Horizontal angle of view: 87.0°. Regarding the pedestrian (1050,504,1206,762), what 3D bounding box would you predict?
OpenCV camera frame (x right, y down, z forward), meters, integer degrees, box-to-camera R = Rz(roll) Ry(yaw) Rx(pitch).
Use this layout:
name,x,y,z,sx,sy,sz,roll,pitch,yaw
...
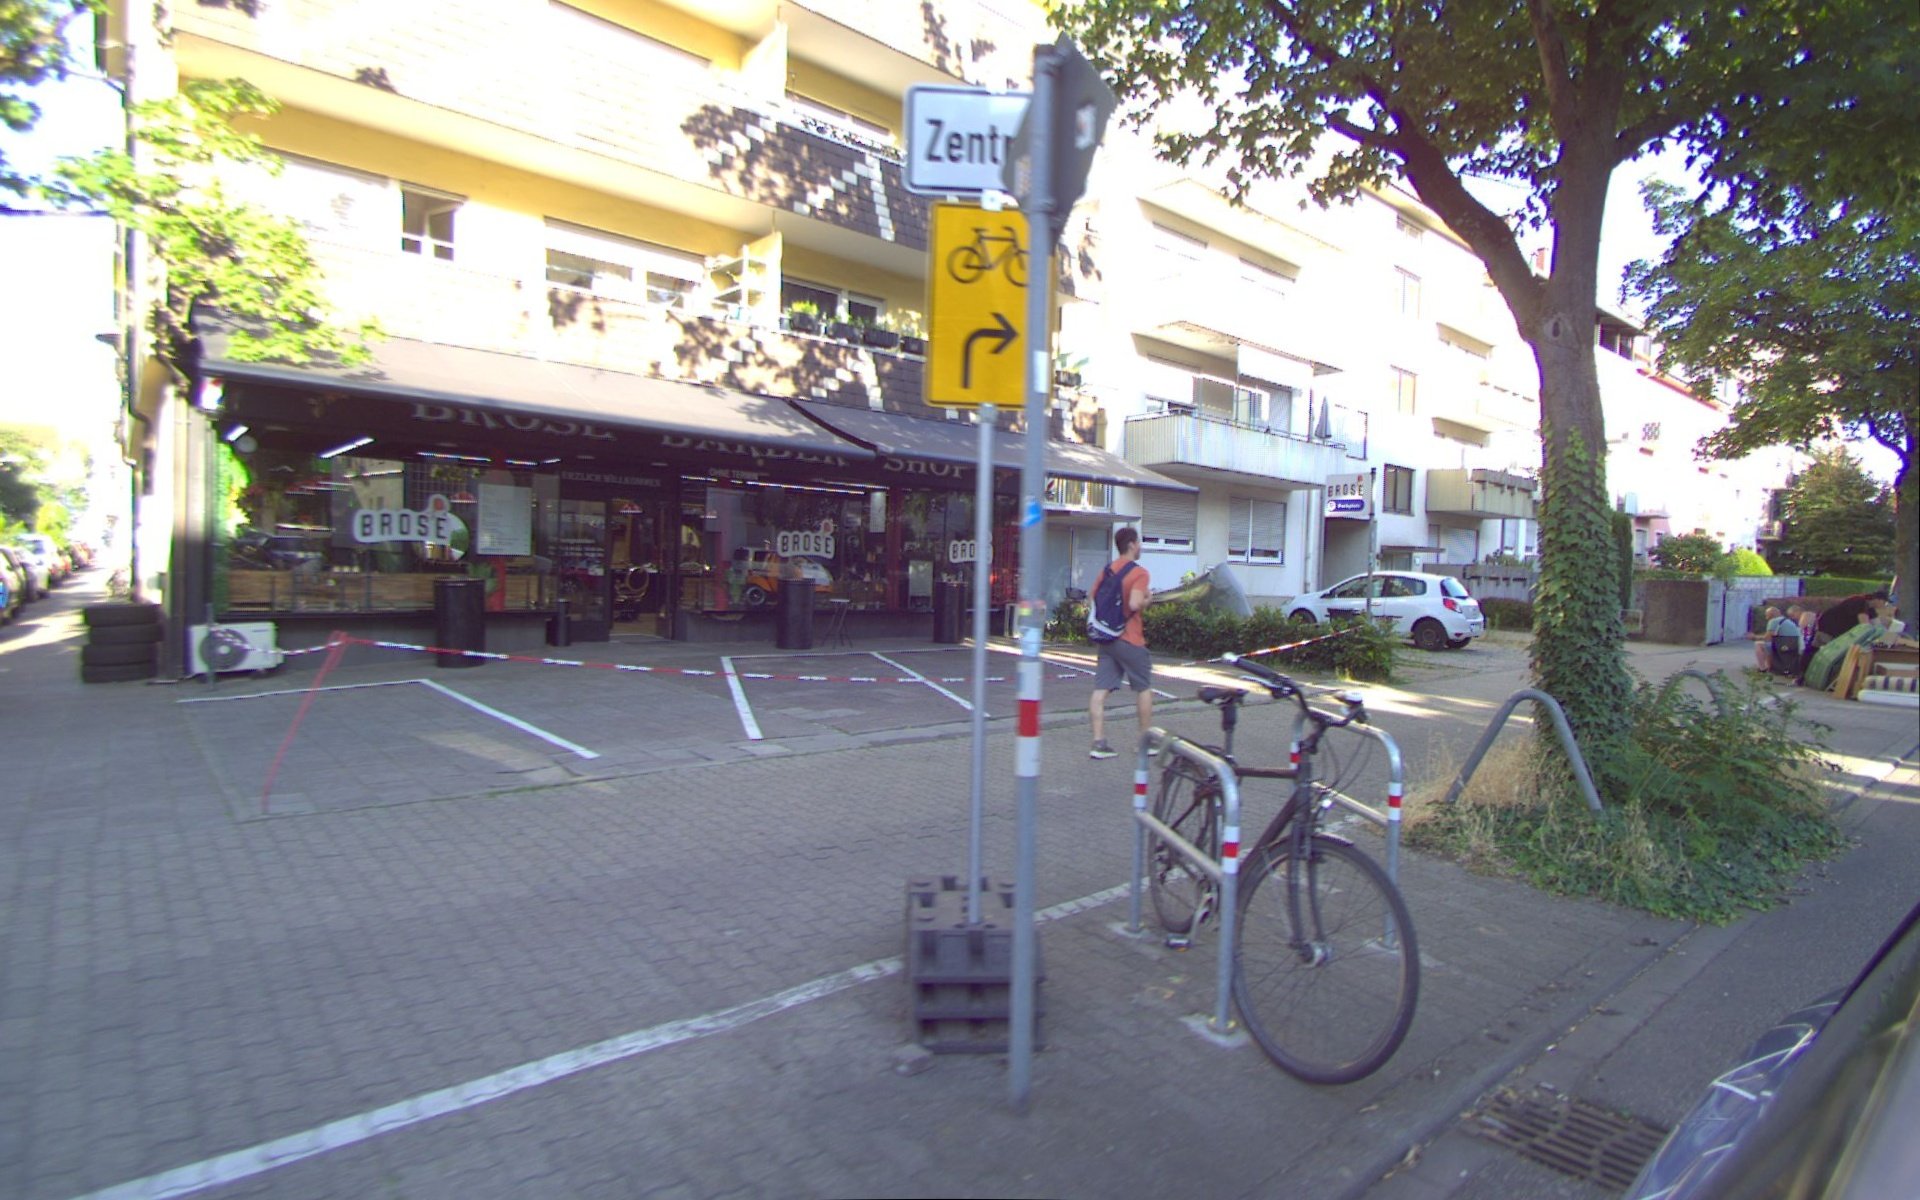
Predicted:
name,x,y,z,sx,sy,sz,roll,pitch,yaw
pedestrian,1.283,0.216,7.714,0.756,1.818,0.891,3,2,45

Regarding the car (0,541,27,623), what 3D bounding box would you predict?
name,x,y,z,sx,sy,sz,roll,pitch,yaw
car,-18.368,-0.385,18.678,1.472,1.435,3.145,0,2,-39

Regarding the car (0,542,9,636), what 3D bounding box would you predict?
name,x,y,z,sx,sy,sz,roll,pitch,yaw
car,-14.982,-0.149,14.578,1.631,1.435,3.354,0,2,-39

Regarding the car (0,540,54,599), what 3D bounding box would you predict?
name,x,y,z,sx,sy,sz,roll,pitch,yaw
car,-24.535,-0.816,26.186,1.472,1.435,3.145,0,2,-39

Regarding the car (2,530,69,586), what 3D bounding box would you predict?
name,x,y,z,sx,sy,sz,roll,pitch,yaw
car,-30.817,-1.410,33.788,1.472,1.749,3.145,0,2,-39

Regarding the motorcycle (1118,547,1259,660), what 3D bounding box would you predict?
name,x,y,z,sx,sy,sz,roll,pitch,yaw
motorcycle,3.501,0.005,15.714,0.717,1.641,2.203,1,2,-34

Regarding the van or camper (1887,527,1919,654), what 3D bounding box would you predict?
name,x,y,z,sx,sy,sz,roll,pitch,yaw
van or camper,23.002,-0.224,23.005,5.885,2.708,2.072,-1,3,-41

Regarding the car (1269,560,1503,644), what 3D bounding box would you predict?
name,x,y,z,sx,sy,sz,roll,pitch,yaw
car,8.570,-0.025,20.610,1.794,1.480,3.992,0,2,-43

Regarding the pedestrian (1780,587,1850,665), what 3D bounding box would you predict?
name,x,y,z,sx,sy,sz,roll,pitch,yaw
pedestrian,14.656,0.426,17.354,0.689,1.270,0.798,0,2,-43

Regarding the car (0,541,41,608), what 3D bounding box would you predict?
name,x,y,z,sx,sy,sz,roll,pitch,yaw
car,-21.689,-0.614,22.647,1.472,1.435,3.145,0,2,-39

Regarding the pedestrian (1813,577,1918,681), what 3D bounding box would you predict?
name,x,y,z,sx,sy,sz,roll,pitch,yaw
pedestrian,13.690,0.414,15.330,1.057,1.494,0.474,2,2,31

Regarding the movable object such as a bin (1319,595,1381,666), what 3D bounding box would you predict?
name,x,y,z,sx,sy,sz,roll,pitch,yaw
movable object such as a bin,5.569,0.419,14.464,0.530,0.961,0.614,0,2,-40

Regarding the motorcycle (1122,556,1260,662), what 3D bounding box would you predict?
name,x,y,z,sx,sy,sz,roll,pitch,yaw
motorcycle,3.820,0.109,16.933,0.872,1.641,2.203,1,2,-34

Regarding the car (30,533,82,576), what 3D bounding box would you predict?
name,x,y,z,sx,sy,sz,roll,pitch,yaw
car,-38.168,-1.926,42.782,1.472,1.749,3.145,0,2,-39

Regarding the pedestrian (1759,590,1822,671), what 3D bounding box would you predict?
name,x,y,z,sx,sy,sz,roll,pitch,yaw
pedestrian,13.672,0.481,16.678,0.650,1.270,0.651,2,2,30

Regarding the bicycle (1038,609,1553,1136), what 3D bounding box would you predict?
name,x,y,z,sx,sy,sz,roll,pitch,yaw
bicycle,1.007,0.731,3.526,0.622,1.241,1.680,1,4,-27

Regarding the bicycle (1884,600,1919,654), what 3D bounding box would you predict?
name,x,y,z,sx,sy,sz,roll,pitch,yaw
bicycle,20.398,0.588,21.031,0.397,1.102,1.707,1,2,-37
